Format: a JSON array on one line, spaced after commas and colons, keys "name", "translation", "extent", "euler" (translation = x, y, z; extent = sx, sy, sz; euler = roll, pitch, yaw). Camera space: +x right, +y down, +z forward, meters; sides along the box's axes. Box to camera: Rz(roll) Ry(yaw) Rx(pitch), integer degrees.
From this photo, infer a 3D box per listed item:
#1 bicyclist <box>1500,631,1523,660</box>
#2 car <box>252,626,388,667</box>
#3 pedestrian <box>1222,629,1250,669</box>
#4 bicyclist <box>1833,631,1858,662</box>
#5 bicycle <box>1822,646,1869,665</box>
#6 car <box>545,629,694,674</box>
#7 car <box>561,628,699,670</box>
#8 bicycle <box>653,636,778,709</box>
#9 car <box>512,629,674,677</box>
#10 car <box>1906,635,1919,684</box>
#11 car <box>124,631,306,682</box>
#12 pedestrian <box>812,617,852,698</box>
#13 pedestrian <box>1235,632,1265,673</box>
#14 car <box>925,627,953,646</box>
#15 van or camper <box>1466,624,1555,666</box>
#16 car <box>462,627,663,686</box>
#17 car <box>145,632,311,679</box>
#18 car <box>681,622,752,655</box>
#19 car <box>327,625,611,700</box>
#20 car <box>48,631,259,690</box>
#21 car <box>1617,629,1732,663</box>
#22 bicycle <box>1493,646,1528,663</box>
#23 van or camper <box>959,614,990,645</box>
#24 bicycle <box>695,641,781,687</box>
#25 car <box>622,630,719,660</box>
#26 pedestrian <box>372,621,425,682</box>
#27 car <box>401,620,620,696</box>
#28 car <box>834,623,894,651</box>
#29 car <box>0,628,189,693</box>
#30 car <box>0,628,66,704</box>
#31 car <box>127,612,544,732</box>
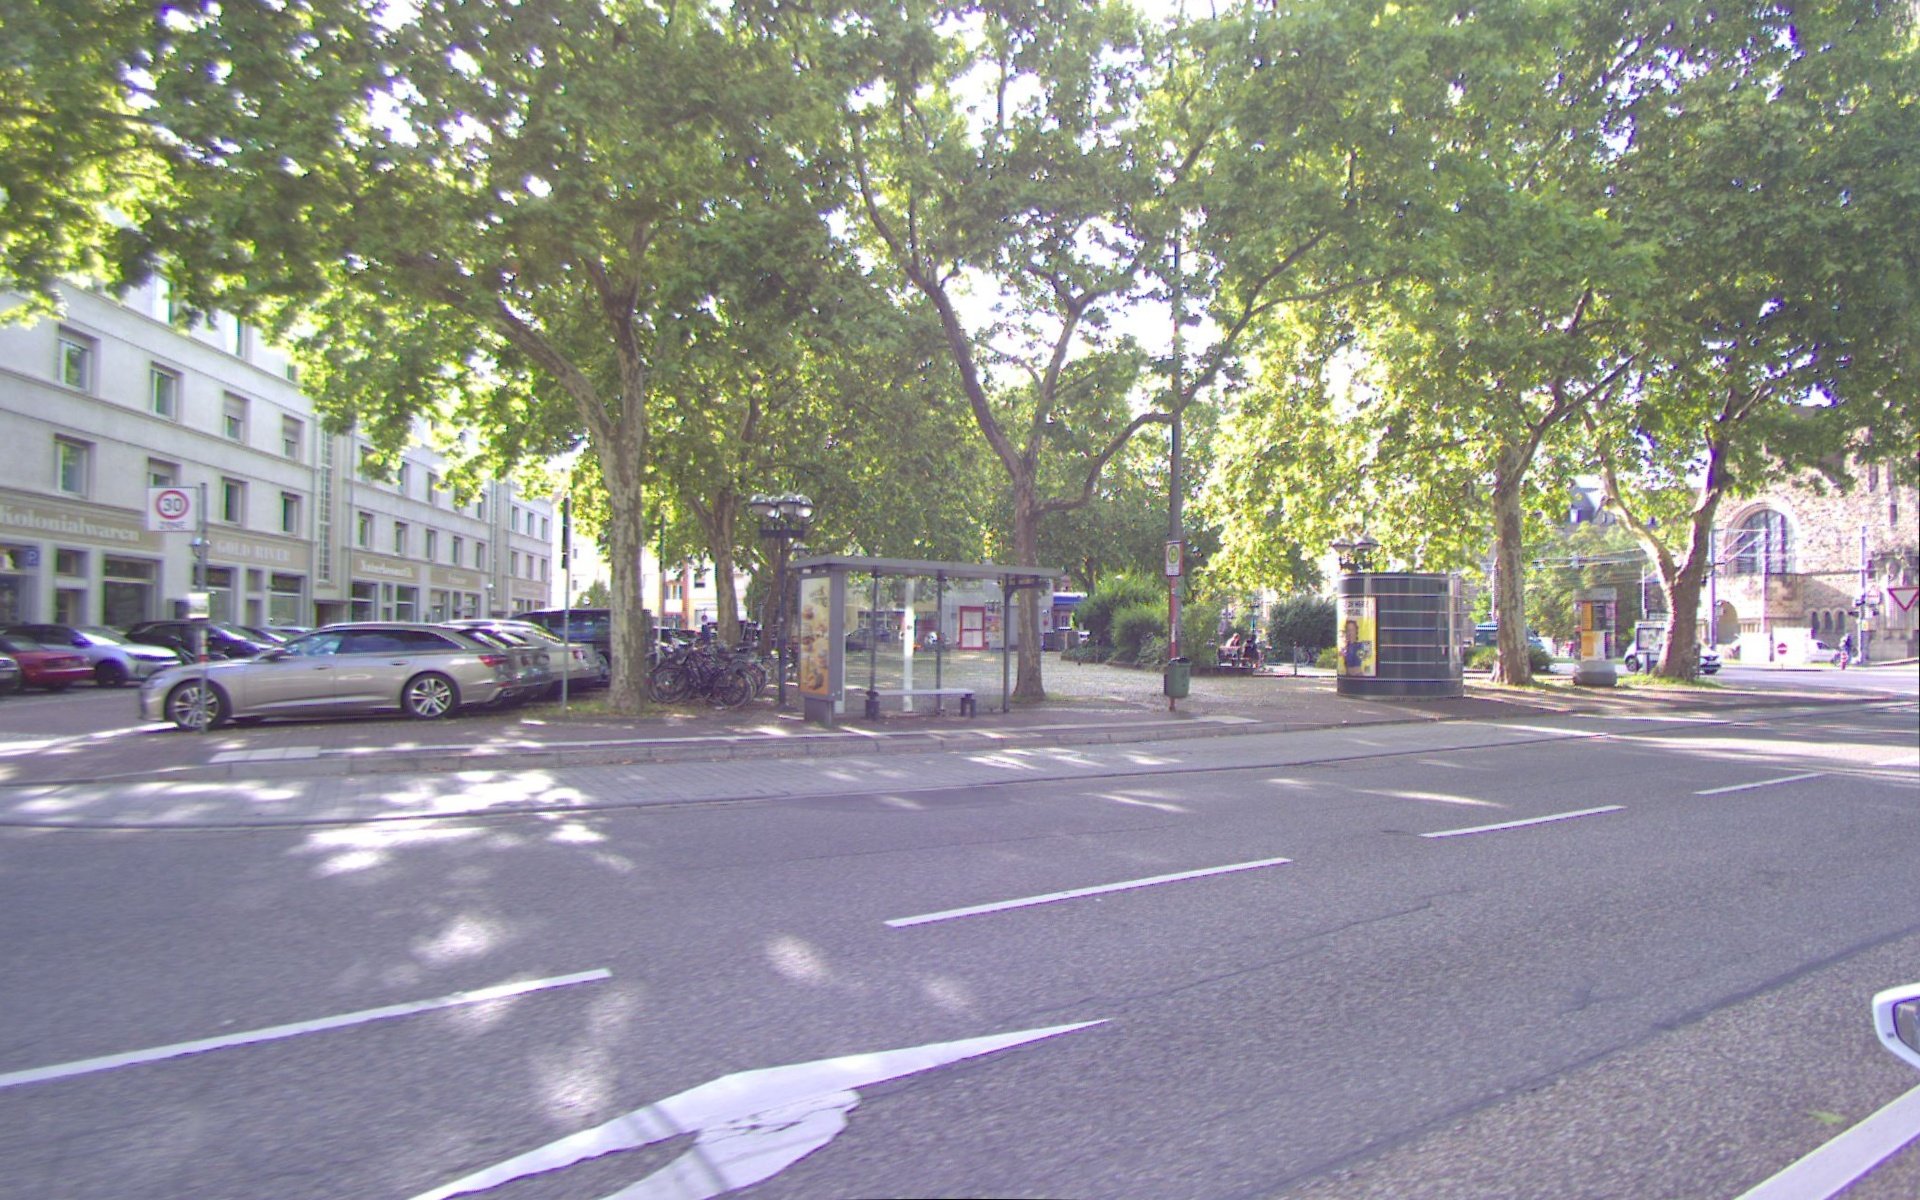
[{"name": "bicyclist", "translation": [29.685, 2.438, 54.059], "extent": [0.703, 1.523, 0.882], "euler": [1, -1, -13]}, {"name": "car", "translation": [-21.648, 1.572, 34.098], "extent": [3.496, 1.321, 1.648], "euler": [1, -2, -11]}, {"name": "pedestrian", "translation": [9.447, 1.676, 34.351], "extent": [0.709, 1.306, 0.818], "euler": [2, 0, 2]}, {"name": "bicyclist", "translation": [48.760, 2.552, 55.315], "extent": [0.705, 1.684, 0.726], "euler": [0, -1, 11]}, {"name": "bicycle", "translation": [48.779, 3.050, 55.368], "extent": [1.886, 0.993, 0.638], "euler": [0, -1, 10]}, {"name": "car", "translation": [-10.982, 1.659, 32.678], "extent": [4.308, 1.396, 1.857], "euler": [1, -2, -9]}, {"name": "car", "translation": [-11.435, 1.690, 35.040], "extent": [4.308, 1.396, 1.857], "euler": [1, -2, -9]}, {"name": "bicycle", "translation": [-4.515, 1.333, 18.738], "extent": [2.064, 1.225, 1.392], "euler": [3, -2, -7]}, {"name": "car", "translation": [-10.985, 1.588, 30.342], "extent": [4.308, 1.396, 1.857], "euler": [1, -2, -9]}, {"name": "car", "translation": [34.980, 2.058, 33.498], "extent": [1.981, 1.705, 4.712], "euler": [1, -2, -11]}, {"name": "car", "translation": [-19.800, 1.494, 26.852], "extent": [3.496, 1.321, 1.648], "euler": [1, -2, -11]}, {"name": "pedestrian", "translation": [-2.794, 1.238, 21.917], "extent": [0.698, 1.738, 0.498], "euler": [1, -2, -30]}, {"name": "pedestrian", "translation": [9.636, 1.723, 33.412], "extent": [0.711, 1.306, 0.816], "euler": [2, 1, 34]}, {"name": "car", "translation": [-1.680, 2.855, 79.000], "extent": [2.071, 1.466, 4.490], "euler": [1, -2, -4]}, {"name": "van or camper", "translation": [34.182, 2.768, 62.620], "extent": [2.143, 2.466, 5.466], "euler": [1, -2, -6]}, {"name": "car", "translation": [-9.737, 1.384, 24.959], "extent": [4.308, 1.396, 1.857], "euler": [1, -2, -9]}, {"name": "car", "translation": [-21.245, 1.599, 29.295], "extent": [3.496, 1.321, 1.648], "euler": [1, -2, -11]}, {"name": "car", "translation": [-14.963, 2.351, 61.889], "extent": [3.925, 1.868, 1.998], "euler": [2, 0, -6]}, {"name": "car", "translation": [-9.581, 1.229, 19.949], "extent": [4.750, 1.396, 1.670], "euler": [1, -2, -9]}, {"name": "car", "translation": [-19.010, 1.422, 23.837], "extent": [3.496, 1.321, 1.648], "euler": [1, -2, -11]}, {"name": "car", "translation": [33.169, 2.102, 46.793], "extent": [1.865, 1.498, 4.253], "euler": [1, -2, -11]}, {"name": "bicycle", "translation": [29.655, 2.935, 54.097], "extent": [0.693, 0.887, 1.723], "euler": [1, -2, -12]}, {"name": "van or camper", "translation": [1.124, 2.327, 78.865], "extent": [2.071, 2.359, 4.490], "euler": [1, -2, -4]}, {"name": "bicycle", "translation": [-5.650, 1.629, 25.628], "extent": [2.055, 1.096, 0.702], "euler": [1, -2, -8]}, {"name": "car", "translation": [-14.053, 2.188, 48.926], "extent": [4.308, 1.396, 1.857], "euler": [1, -2, -9]}, {"name": "pedestrian", "translation": [-15.658, 1.425, 28.030], "extent": [0.800, 1.676, 1.076], "euler": [1, -1, 2]}, {"name": "car", "translation": [-10.049, 1.295, 22.750], "extent": [4.199, 1.638, 1.681], "euler": [1, -2, -9]}, {"name": "car", "translation": [-6.380, 2.446, 66.587], "extent": [3.926, 1.795, 1.889], "euler": [1, -2, -8]}, {"name": "car", "translation": [-19.060, 1.285, 21.618], "extent": [3.496, 1.321, 1.648], "euler": [1, -2, -11]}, {"name": "car", "translation": [-19.531, 1.206, 18.967], "extent": [3.638, 1.384, 1.594], "euler": [1, -1, -8]}, {"name": "car", "translation": [-9.084, 1.040, 15.222], "extent": [4.894, 1.606, 2.233], "euler": [1, -2, -17]}]
